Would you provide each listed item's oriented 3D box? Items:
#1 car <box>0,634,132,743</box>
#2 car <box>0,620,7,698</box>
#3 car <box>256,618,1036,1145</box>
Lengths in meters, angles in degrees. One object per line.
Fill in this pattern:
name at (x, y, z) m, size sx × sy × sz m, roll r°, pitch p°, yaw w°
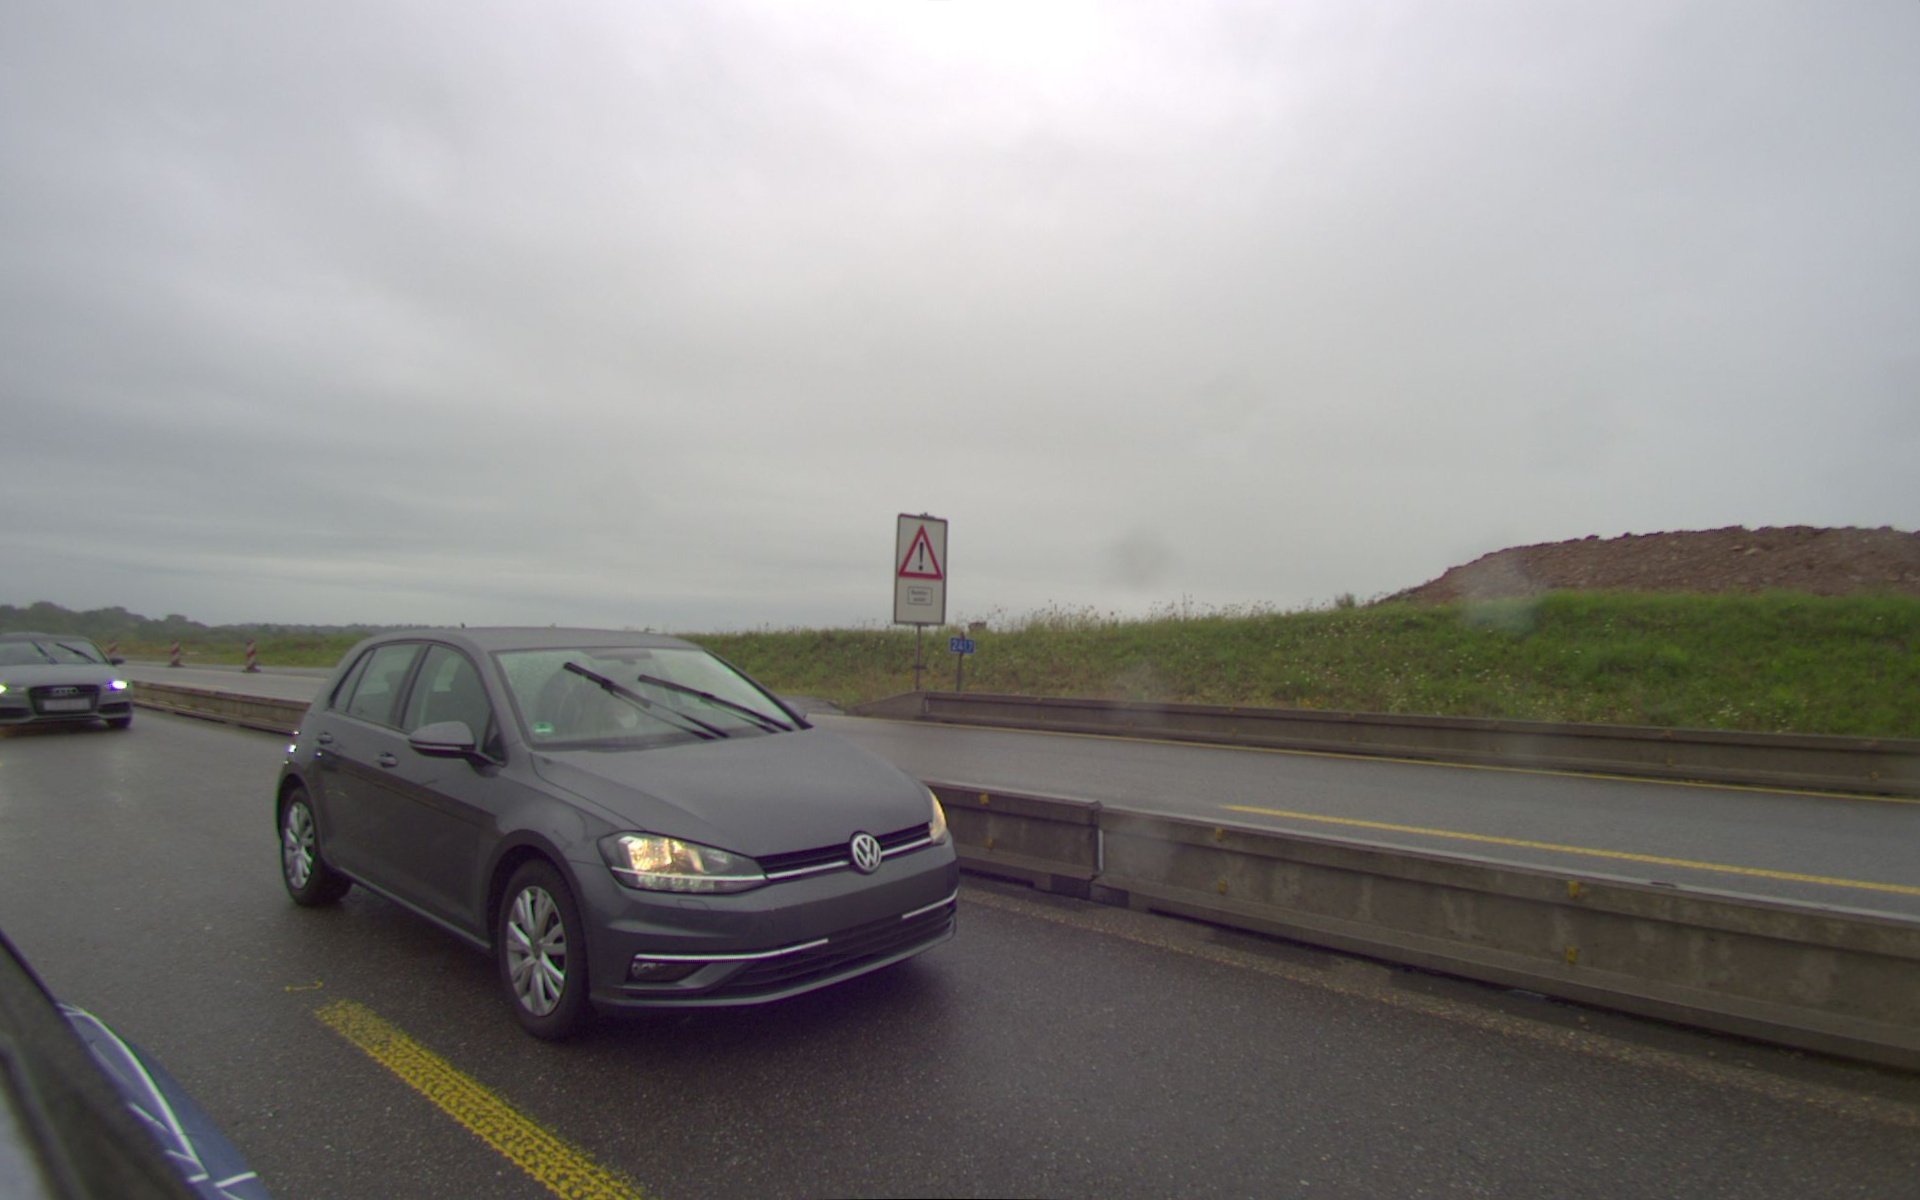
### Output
car at (-14.300, 1.261, 15.500) m, size 4.266 × 1.407 × 1.777 m, roll -1°, pitch -1°, yaw 40°
car at (-25.719, 1.458, 25.432) m, size 5.178 × 1.873 × 2.132 m, roll -1°, pitch -1°, yaw 42°
car at (-1.755, 0.803, 4.747) m, size 4.079 × 1.433 × 1.632 m, roll -1°, pitch -1°, yaw 42°
